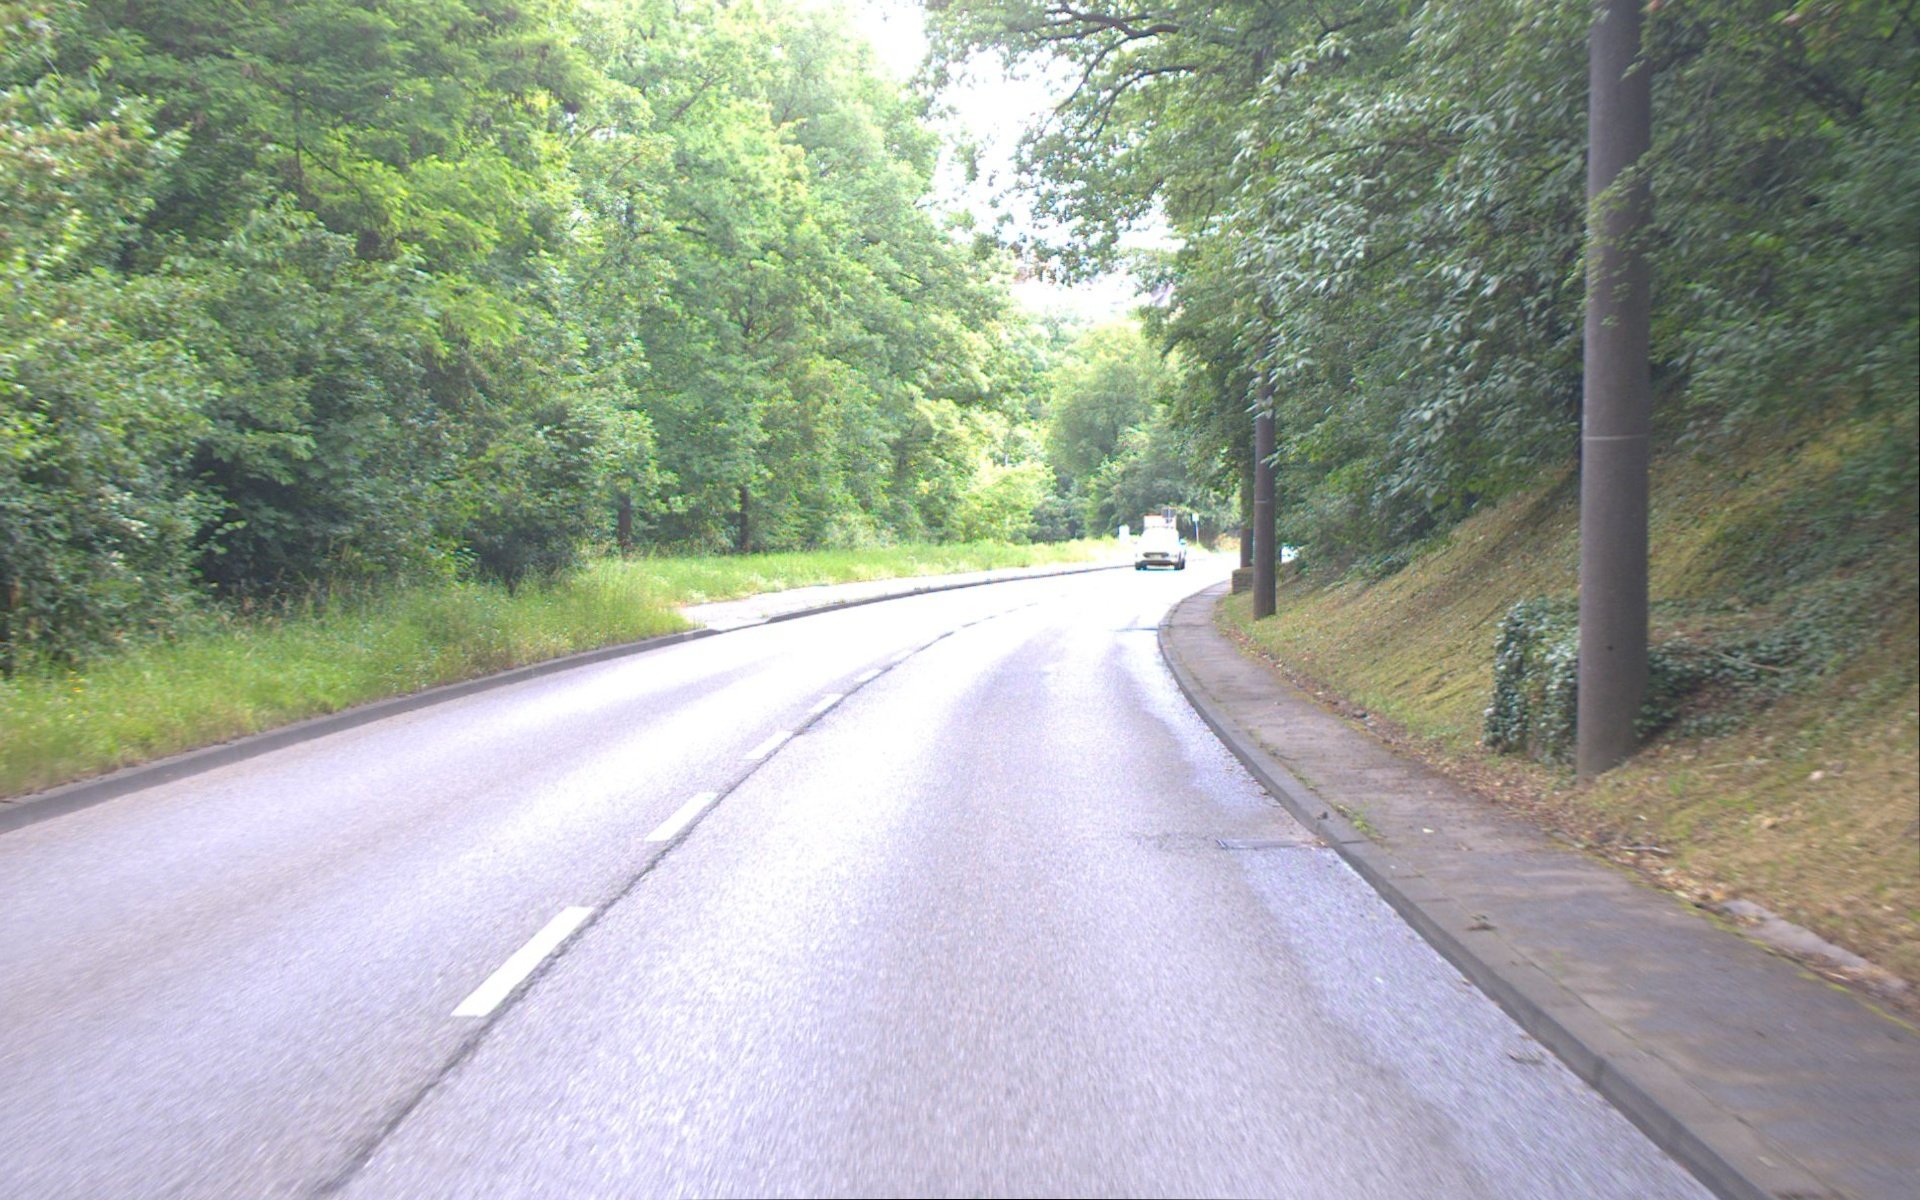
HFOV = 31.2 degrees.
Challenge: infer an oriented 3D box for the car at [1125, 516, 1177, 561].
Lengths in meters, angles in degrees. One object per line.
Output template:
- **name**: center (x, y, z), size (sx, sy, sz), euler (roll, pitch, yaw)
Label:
- **car**: center (7.892, -2.531, 141.693), size (1.994, 1.747, 4.781), euler (1, 0, 5)
